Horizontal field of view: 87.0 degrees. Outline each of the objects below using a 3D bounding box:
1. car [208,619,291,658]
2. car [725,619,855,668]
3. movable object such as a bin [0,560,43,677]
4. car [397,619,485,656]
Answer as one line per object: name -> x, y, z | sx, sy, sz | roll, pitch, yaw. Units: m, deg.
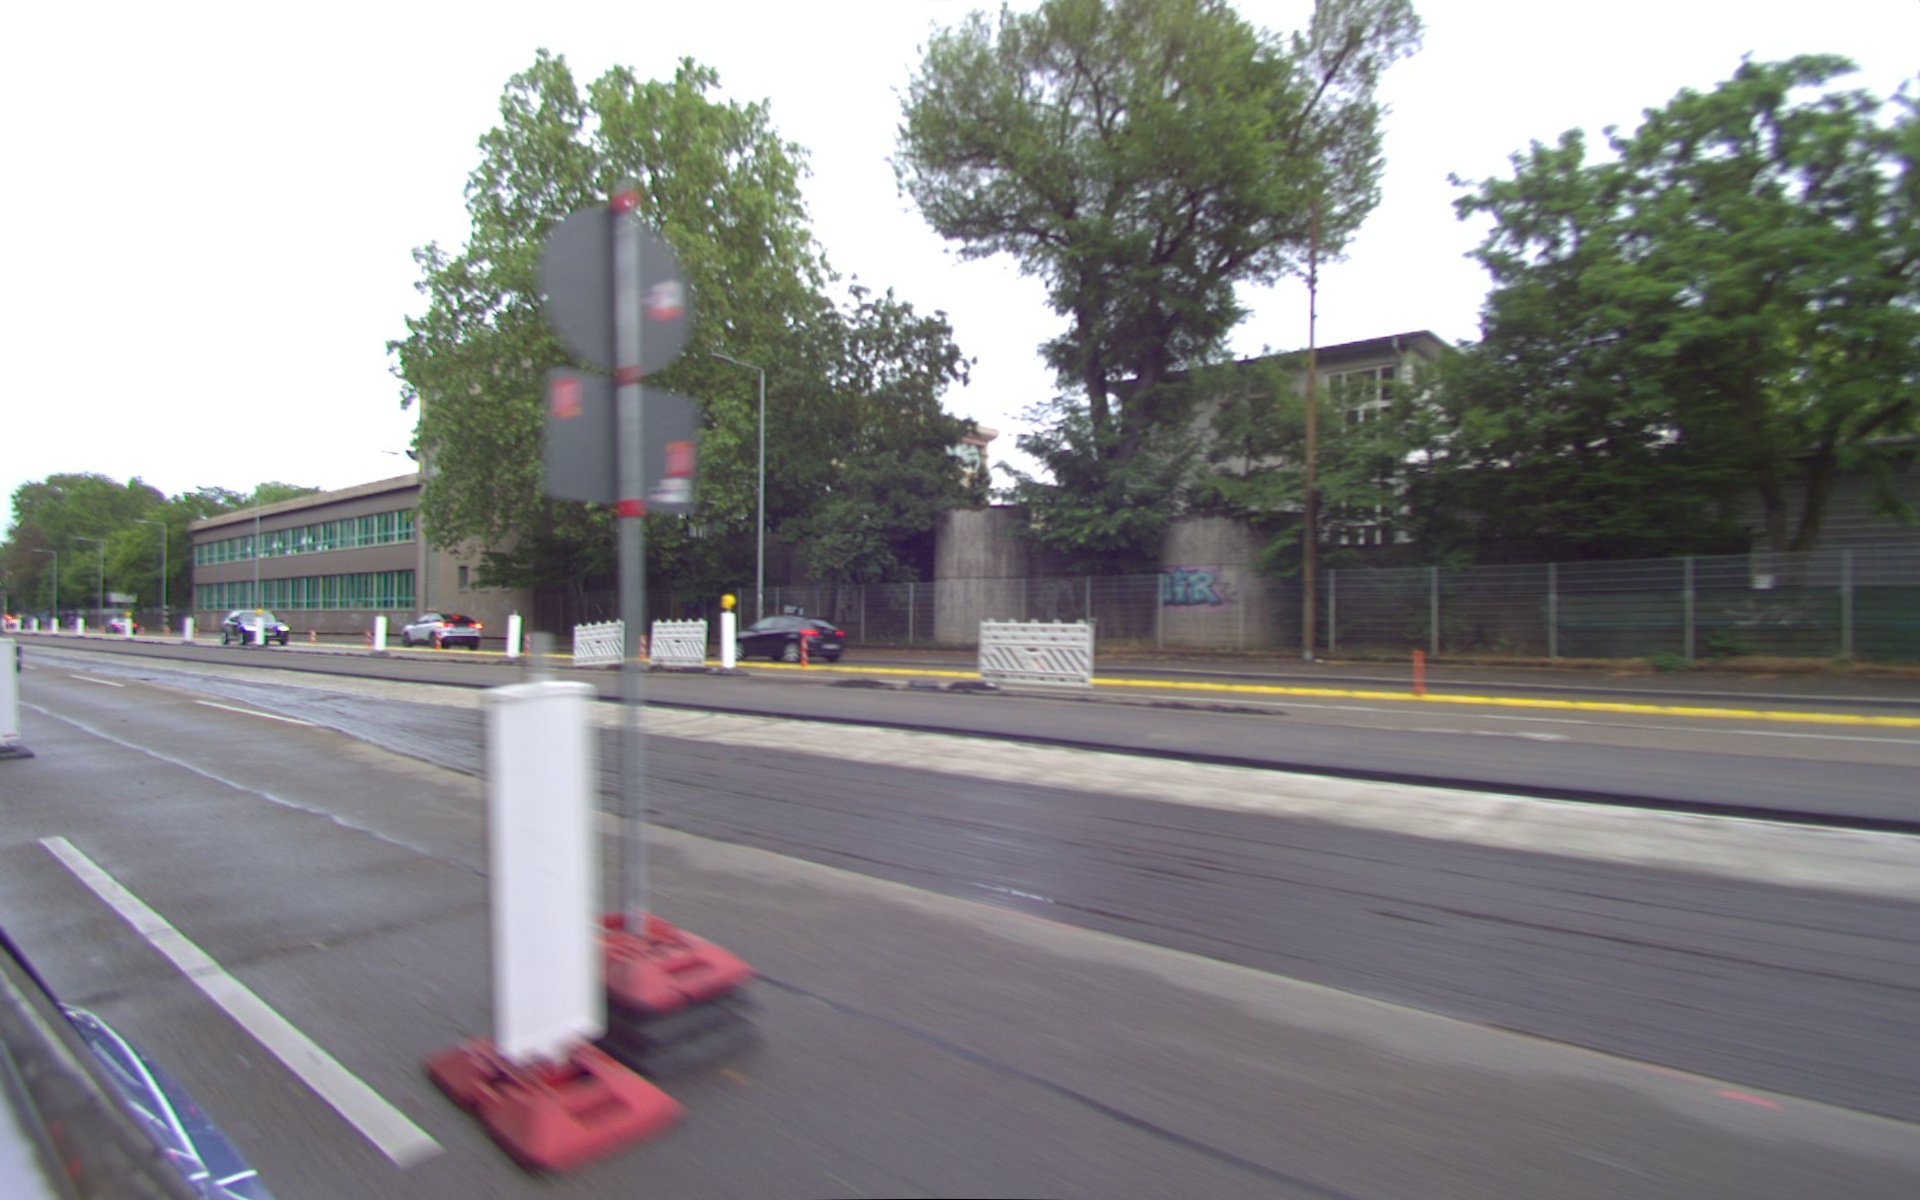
car -> -33.958, 1.888, 48.324 | 4.980, 1.719, 1.973 | -3, -6, 40
car -> -5.258, 1.304, 31.084 | 4.167, 1.393, 1.688 | -1, -2, 41
movable object such as a bin -> -27.877, 0.527, 28.613 | 5.616, 3.125, 1.974 | -1, -1, 38
car -> -21.552, 1.518, 41.953 | 4.146, 1.445, 1.817 | -1, -1, 41
